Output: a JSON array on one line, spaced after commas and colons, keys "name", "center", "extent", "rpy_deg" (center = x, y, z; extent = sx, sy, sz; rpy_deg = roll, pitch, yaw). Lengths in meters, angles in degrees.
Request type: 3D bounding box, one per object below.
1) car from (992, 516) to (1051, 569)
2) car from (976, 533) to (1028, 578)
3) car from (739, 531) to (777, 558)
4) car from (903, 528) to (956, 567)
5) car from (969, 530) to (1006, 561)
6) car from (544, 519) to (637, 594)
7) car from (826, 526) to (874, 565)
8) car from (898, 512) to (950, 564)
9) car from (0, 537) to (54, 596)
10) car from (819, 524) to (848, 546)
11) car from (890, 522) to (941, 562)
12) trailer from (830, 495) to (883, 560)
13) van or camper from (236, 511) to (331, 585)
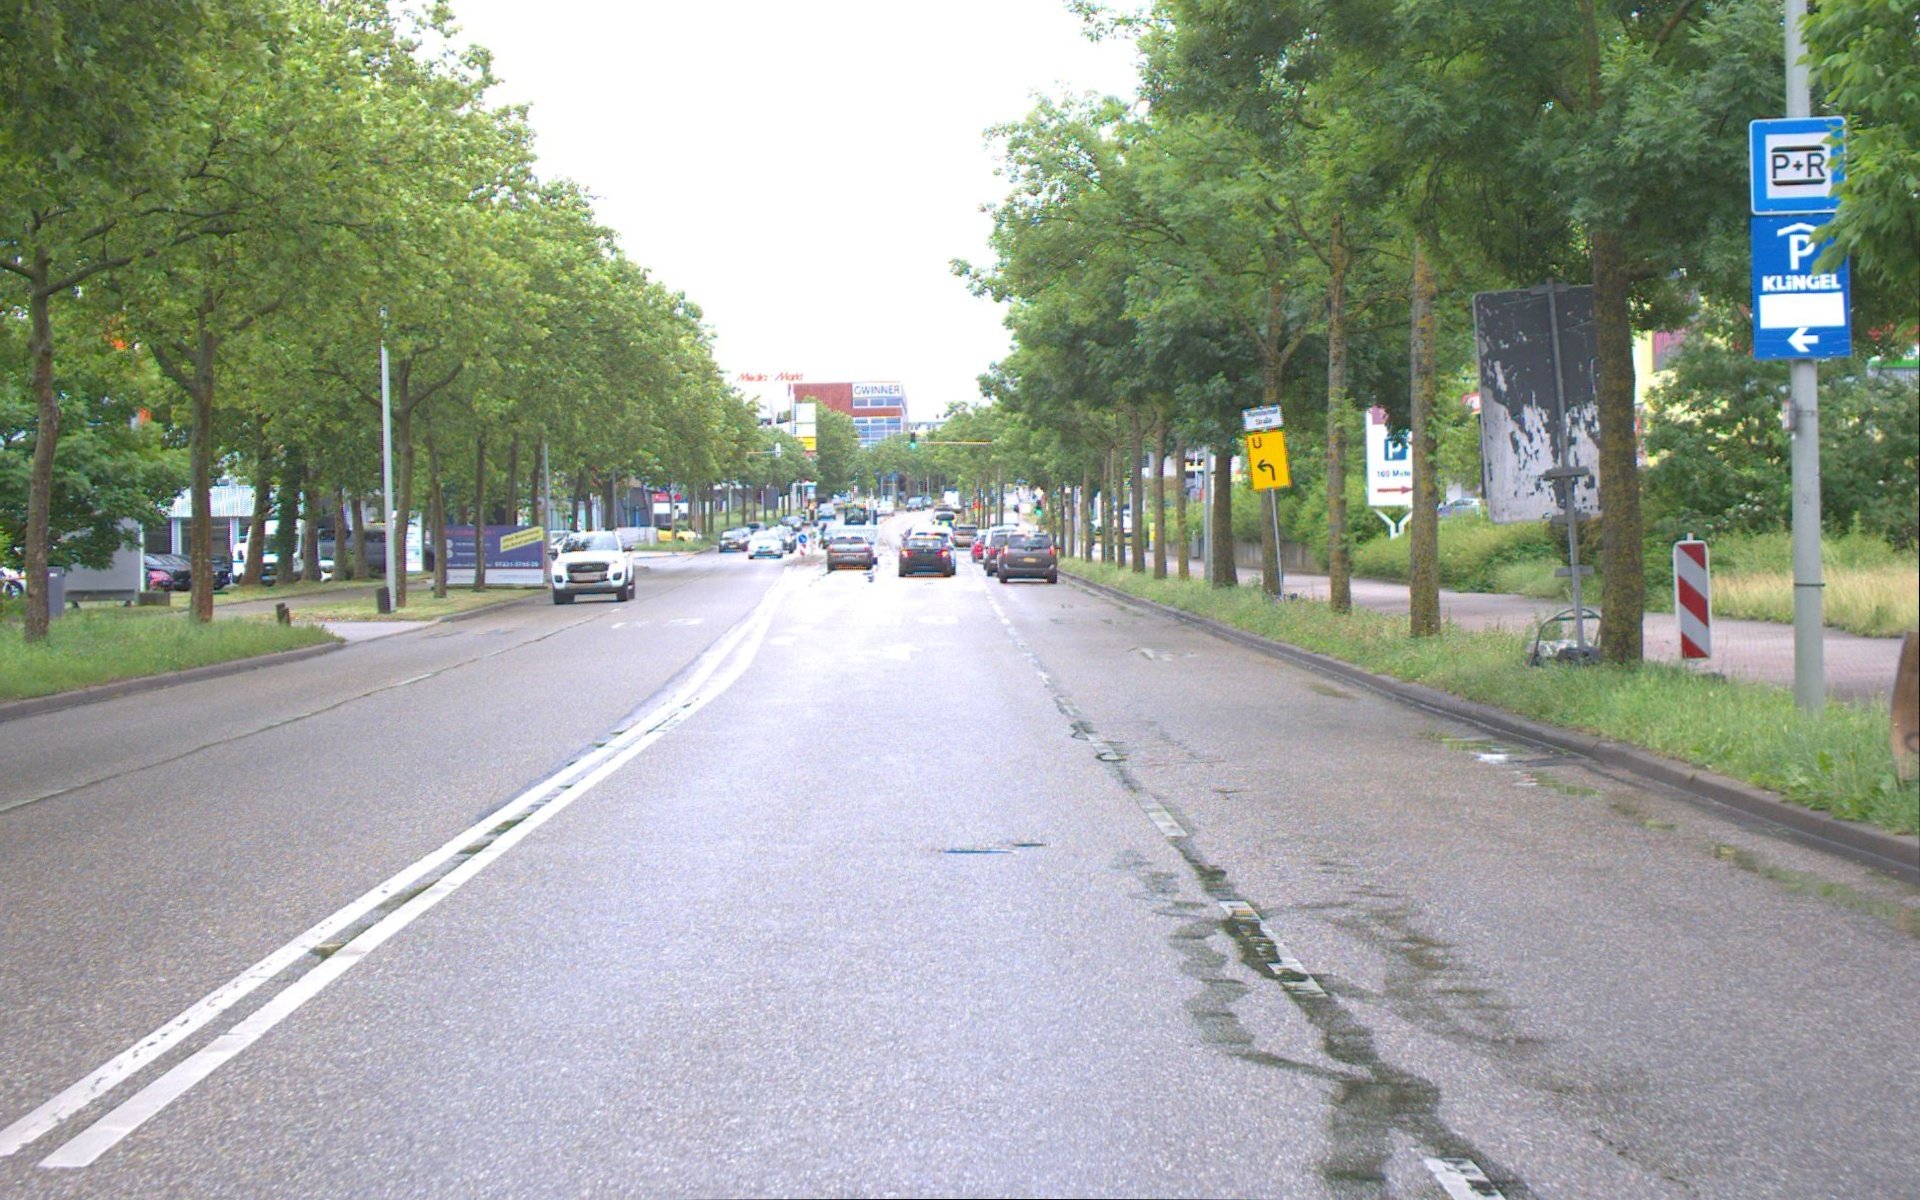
[{"name": "car", "center": [1.926, -1.835, 108.761], "extent": [1.726, 1.619, 4.471], "rpy_deg": [-1, 1, -1]}, {"name": "car", "center": [1.549, -1.678, 127.732], "extent": [1.801, 1.581, 4.451], "rpy_deg": [1, 2, 0]}, {"name": "car", "center": [-11.160, -3.080, 189.834], "extent": [1.993, 1.424, 4.686], "rpy_deg": [-2, 1, -4]}, {"name": "car", "center": [-1.157, -1.972, 128.880], "extent": [1.682, 1.372, 4.001], "rpy_deg": [-1, 1, -4]}, {"name": "car", "center": [1.308, -2.647, 166.574], "extent": [1.695, 1.438, 3.989], "rpy_deg": [-1, 1, 0]}, {"name": "car", "center": [-9.393, -1.135, 87.751], "extent": [1.911, 1.799, 5.342], "rpy_deg": [-2, 1, -2]}, {"name": "car", "center": [-4.641, -2.313, 145.504], "extent": [1.907, 1.573, 4.881], "rpy_deg": [-1, 1, -1]}, {"name": "car", "center": [-1.428, -2.433, 136.051], "extent": [1.993, 2.007, 4.000], "rpy_deg": [1, 1, -1]}, {"name": "car", "center": [-29.795, -1.011, 104.535], "extent": [3.986, 1.760, 1.882], "rpy_deg": [-1, 1, -3]}, {"name": "car", "center": [-8.053, -4.129, 218.418], "extent": [1.682, 1.372, 4.001], "rpy_deg": [-1, 1, -4]}, {"name": "car", "center": [-1.611, -2.081, 122.521], "extent": [1.781, 1.393, 4.001], "rpy_deg": [0, 1, -1]}, {"name": "trailer", "center": [-4.864, -3.382, 160.438], "extent": [2.372, 2.887, 5.546], "rpy_deg": [-1, 1, -2]}, {"name": "van or camper", "center": [-23.078, -1.794, 117.473], "extent": [1.993, 2.462, 6.402], "rpy_deg": [0, 1, 0]}]
